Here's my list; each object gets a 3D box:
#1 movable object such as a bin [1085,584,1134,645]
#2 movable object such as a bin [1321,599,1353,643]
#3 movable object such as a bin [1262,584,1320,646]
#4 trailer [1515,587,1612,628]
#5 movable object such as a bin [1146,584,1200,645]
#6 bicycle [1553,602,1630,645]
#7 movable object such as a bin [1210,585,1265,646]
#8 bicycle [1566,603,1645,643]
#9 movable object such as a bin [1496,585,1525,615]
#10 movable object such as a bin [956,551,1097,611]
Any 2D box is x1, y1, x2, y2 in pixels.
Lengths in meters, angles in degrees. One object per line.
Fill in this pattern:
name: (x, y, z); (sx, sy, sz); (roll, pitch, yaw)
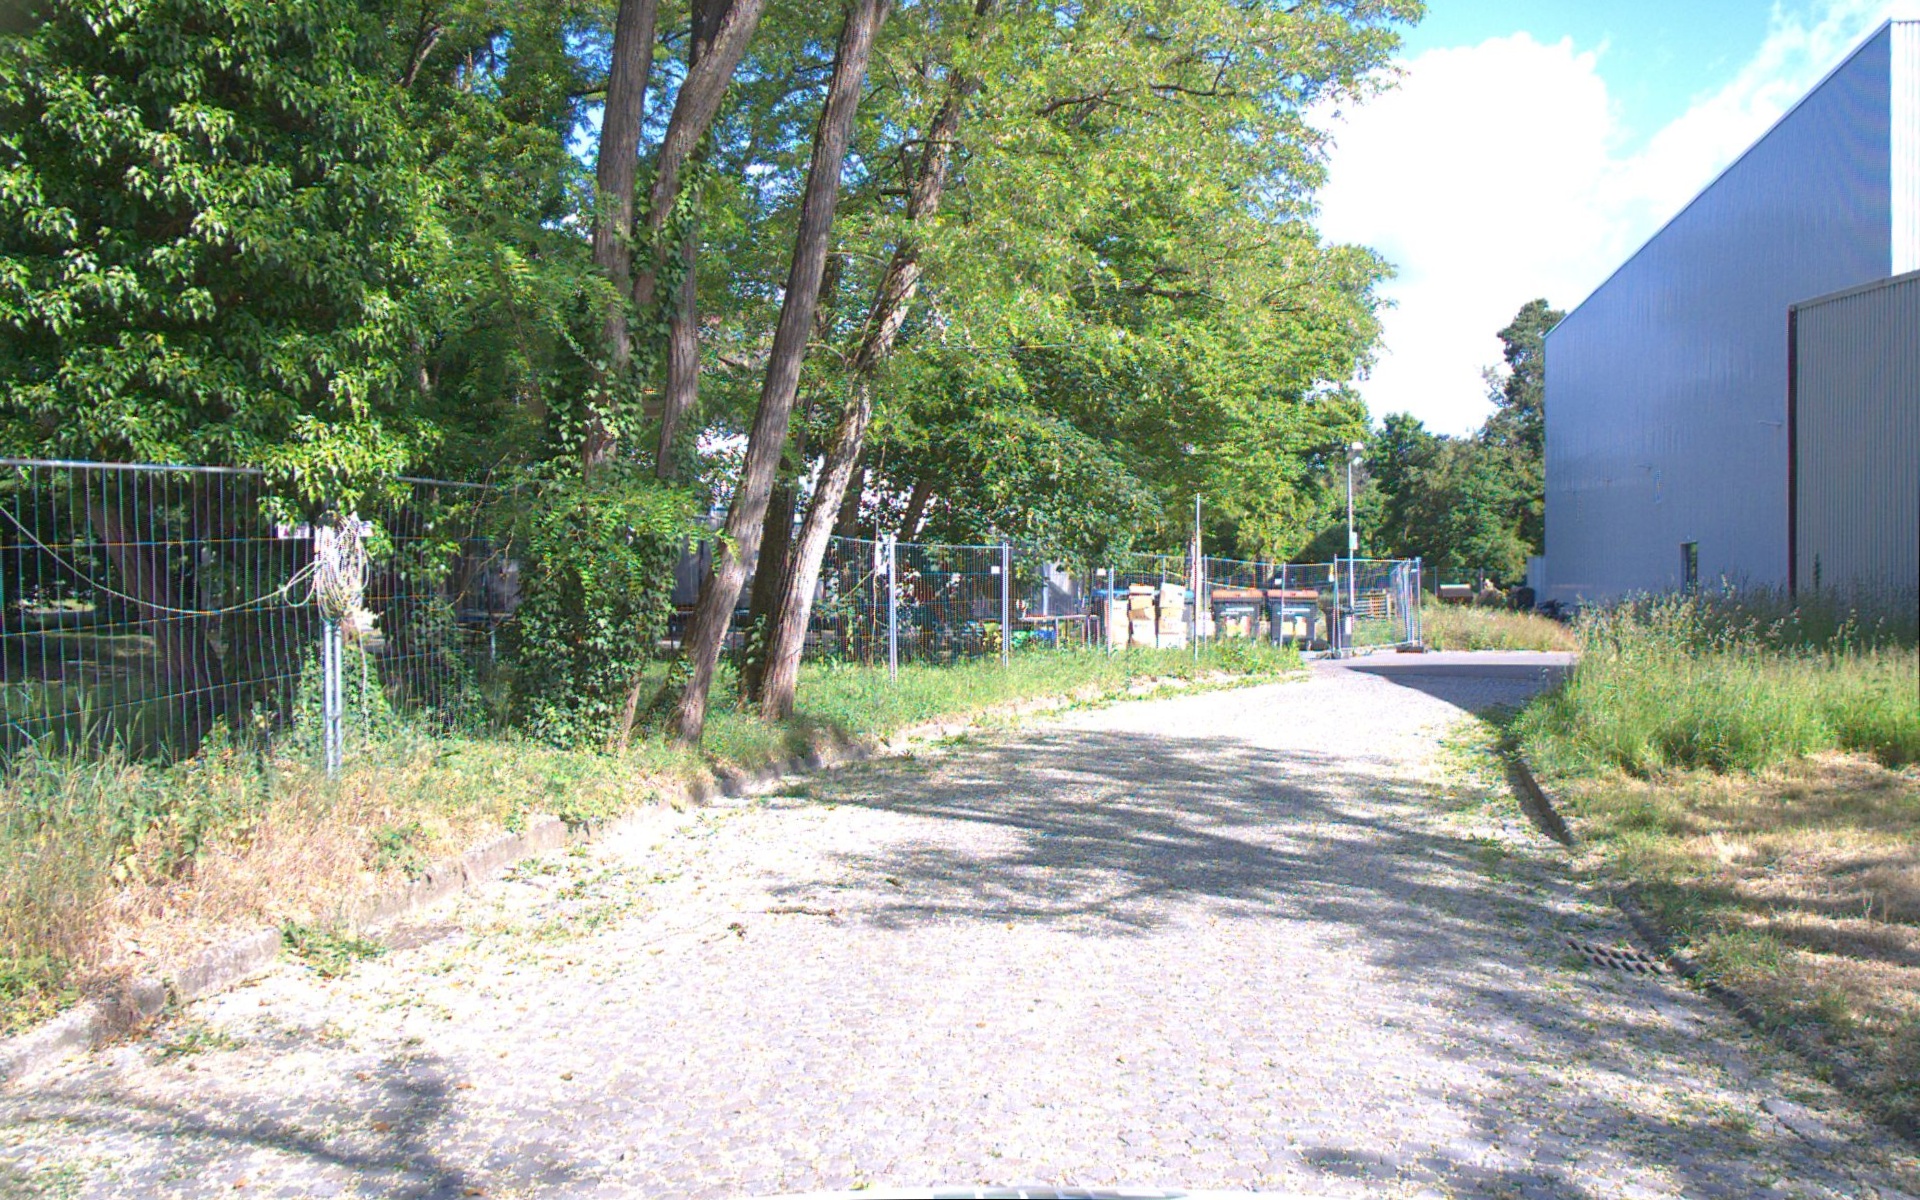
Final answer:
movable object such as a bin: (3.677, 0.348, 40.679); (1.061, 1.463, 1.057); (-1, 0, 12)
movable object such as a bin: (9.060, 0.502, 39.752); (0.629, 1.025, 0.604); (-1, 0, 25)
movable object such as a bin: (8.018, 0.355, 40.101); (1.260, 1.451, 1.033); (-1, 0, 6)
trailer: (18.843, 0.235, 51.709); (2.652, 1.221, 1.247); (-1, 0, 9)
movable object such as a bin: (5.221, 0.347, 40.526); (1.260, 1.451, 1.033); (-1, 0, 8)
bicycle: (16.736, 0.626, 43.855); (1.843, 1.101, 0.434); (-1, 0, 9)
movable object such as a bin: (6.742, 0.363, 40.259); (1.260, 1.451, 1.033); (-1, 0, 8)
bicycle: (16.535, 0.598, 42.385); (1.843, 0.995, 0.434); (-1, 0, 9)
movable object such as a bin: (32.735, -0.008, 98.333); (1.334, 1.685, 2.844); (-1, 0, 12)
movable object such as a bin: (2.353, -0.652, 58.223); (4.767, 2.005, 1.934); (-1, 0, 8)
